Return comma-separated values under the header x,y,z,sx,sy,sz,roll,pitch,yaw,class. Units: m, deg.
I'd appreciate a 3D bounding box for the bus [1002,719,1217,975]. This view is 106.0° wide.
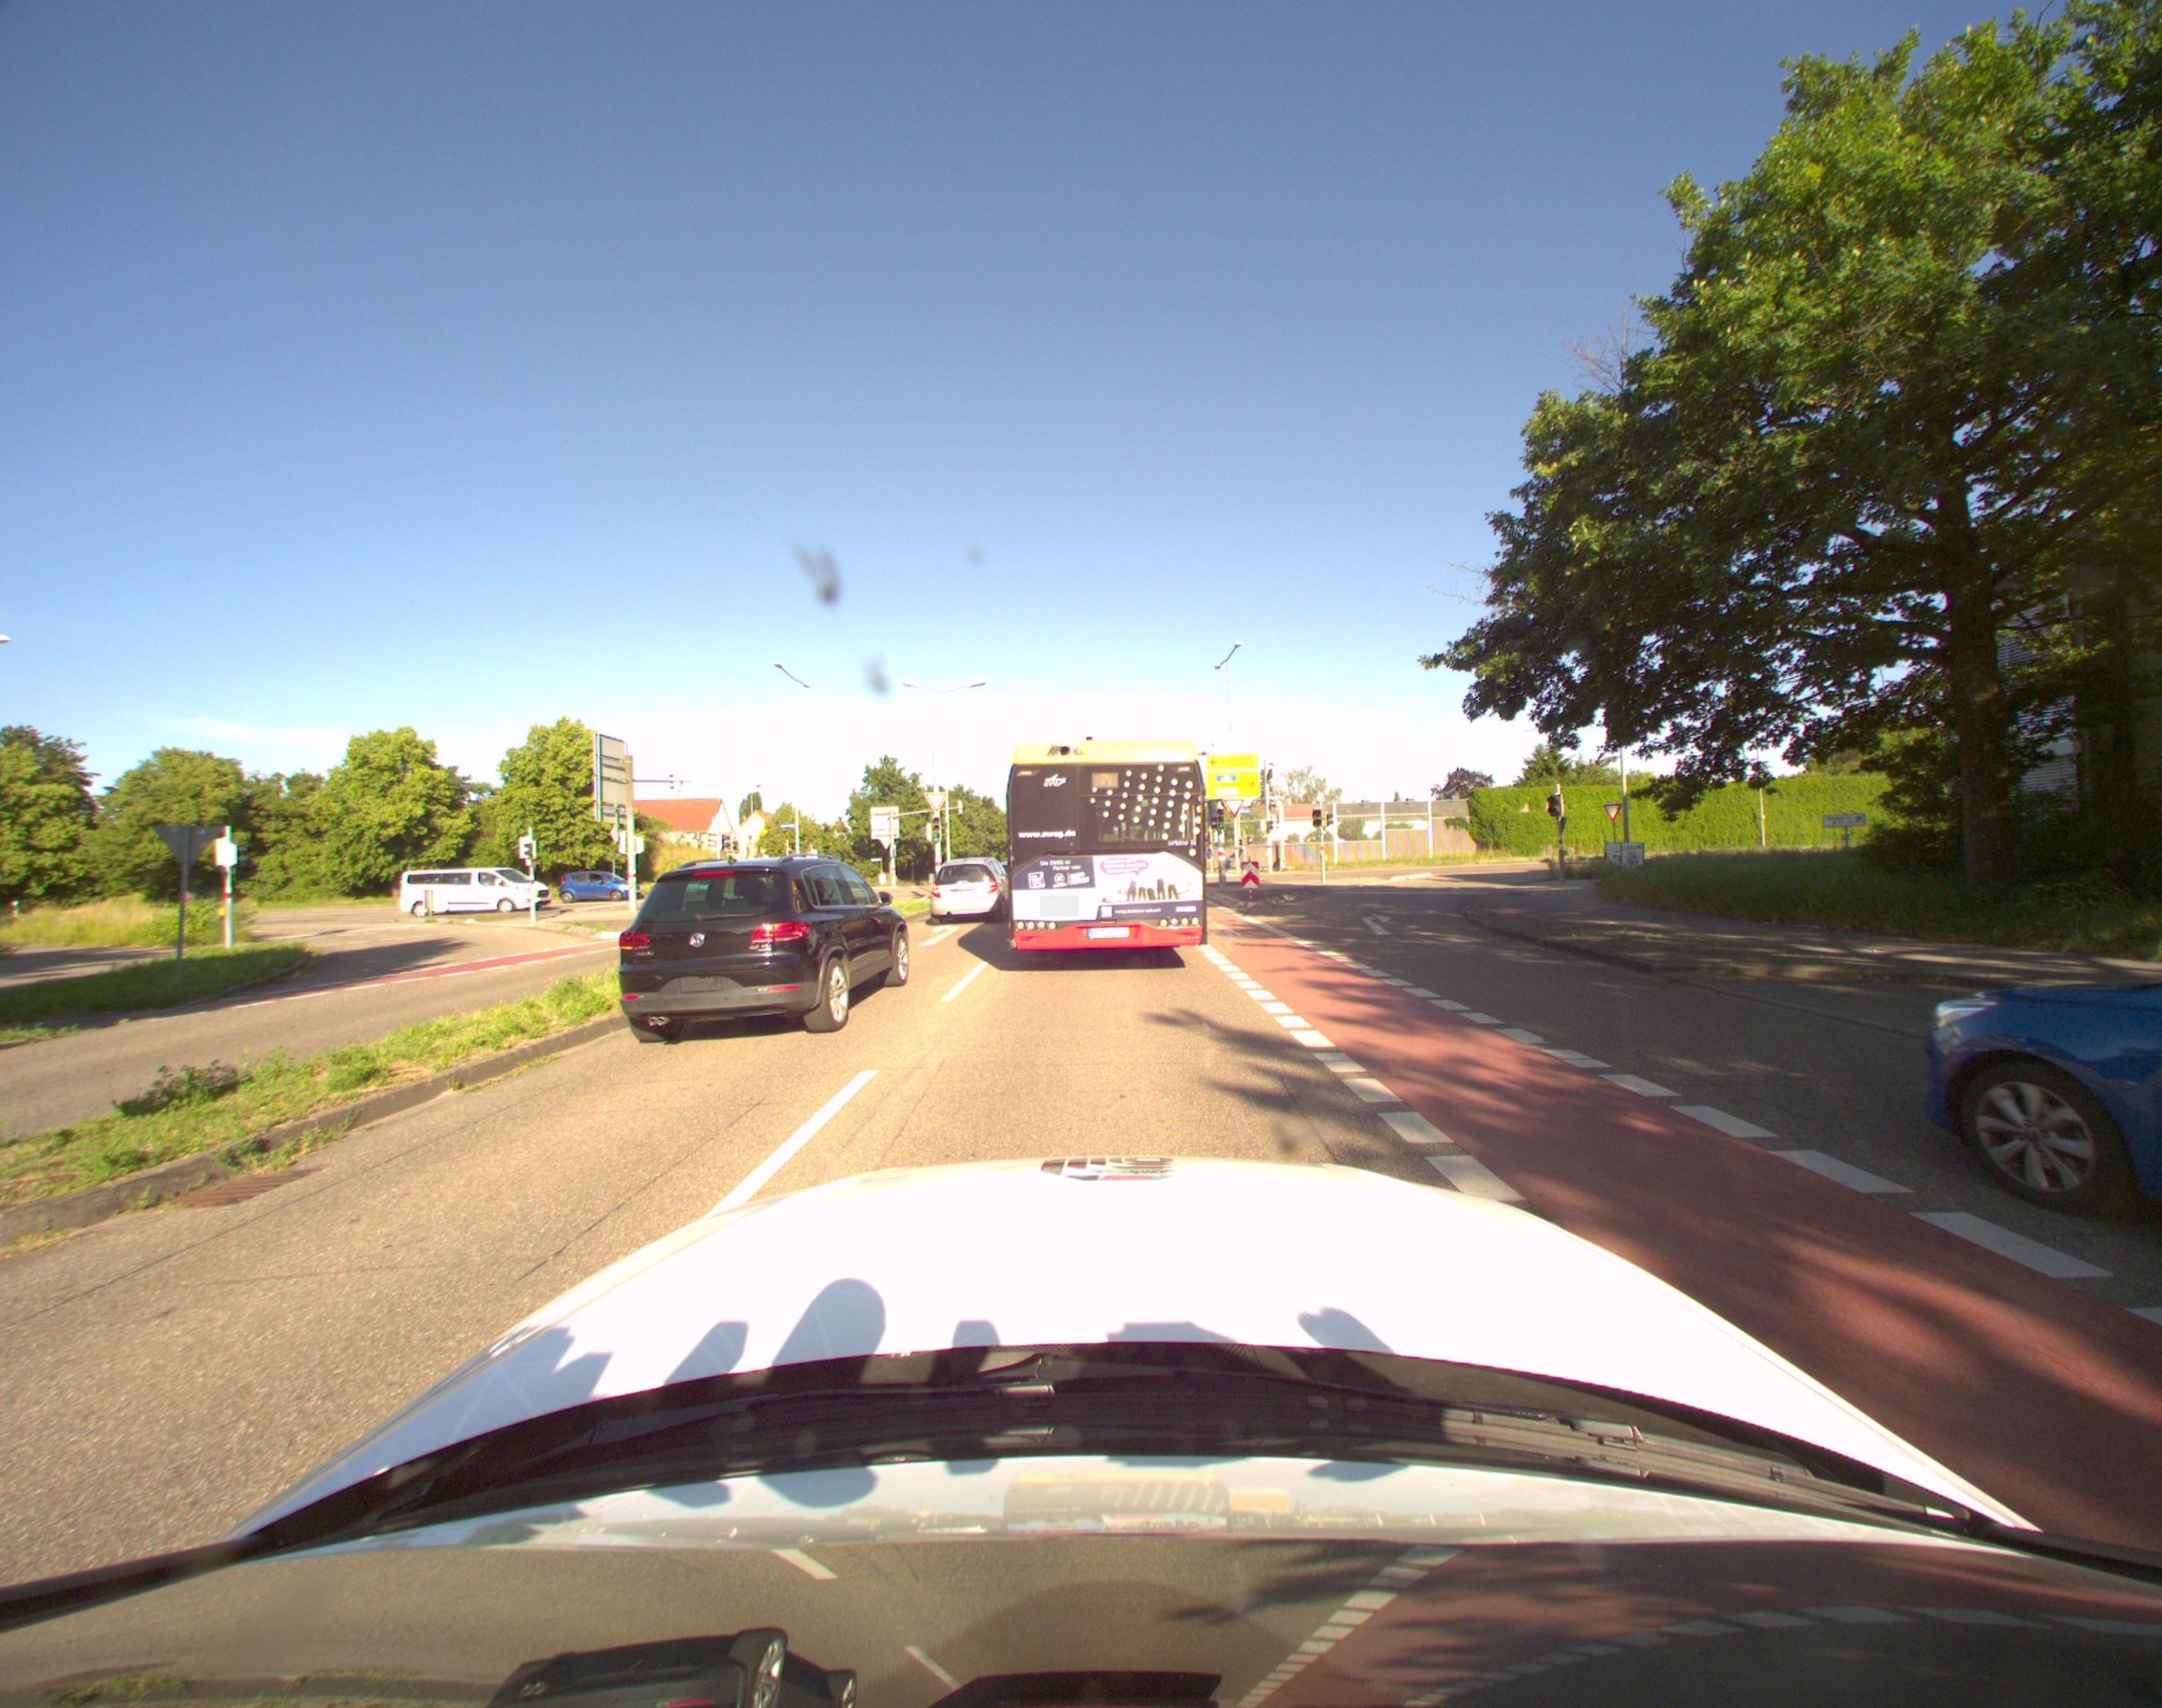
x,y,z,sx,sy,sz,roll,pitch,yaw,class
0.596,-0.097,16.137,2.632,3.167,11.867,-1,0,2,bus

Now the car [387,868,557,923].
x,y,z,sx,sy,sz,roll,pitch,yaw,class
-25.630,1.728,34.434,5.375,2.118,2.178,-1,-1,-4,car

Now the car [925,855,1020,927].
x,y,z,sx,sy,sz,roll,pitch,yaw,class
-2.686,0.864,21.095,1.755,1.589,4.001,-3,0,1,car

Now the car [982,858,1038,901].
x,y,z,sx,sy,sz,roll,pitch,yaw,class
-2.681,0.946,31.481,1.686,1.458,3.751,-3,0,1,car

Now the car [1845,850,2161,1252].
x,y,z,sx,sy,sz,roll,pitch,yaw,class
4.744,0.717,2.297,1.642,1.468,3.945,-1,0,4,car

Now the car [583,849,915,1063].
x,y,z,sx,sy,sz,roll,pitch,yaw,class
-3.133,0.845,8.677,1.766,1.653,4.000,-3,0,1,car

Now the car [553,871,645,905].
x,y,z,sx,sy,sz,roll,pitch,yaw,class
-24.570,1.701,41.607,3.577,1.560,1.747,-2,-1,-5,car
